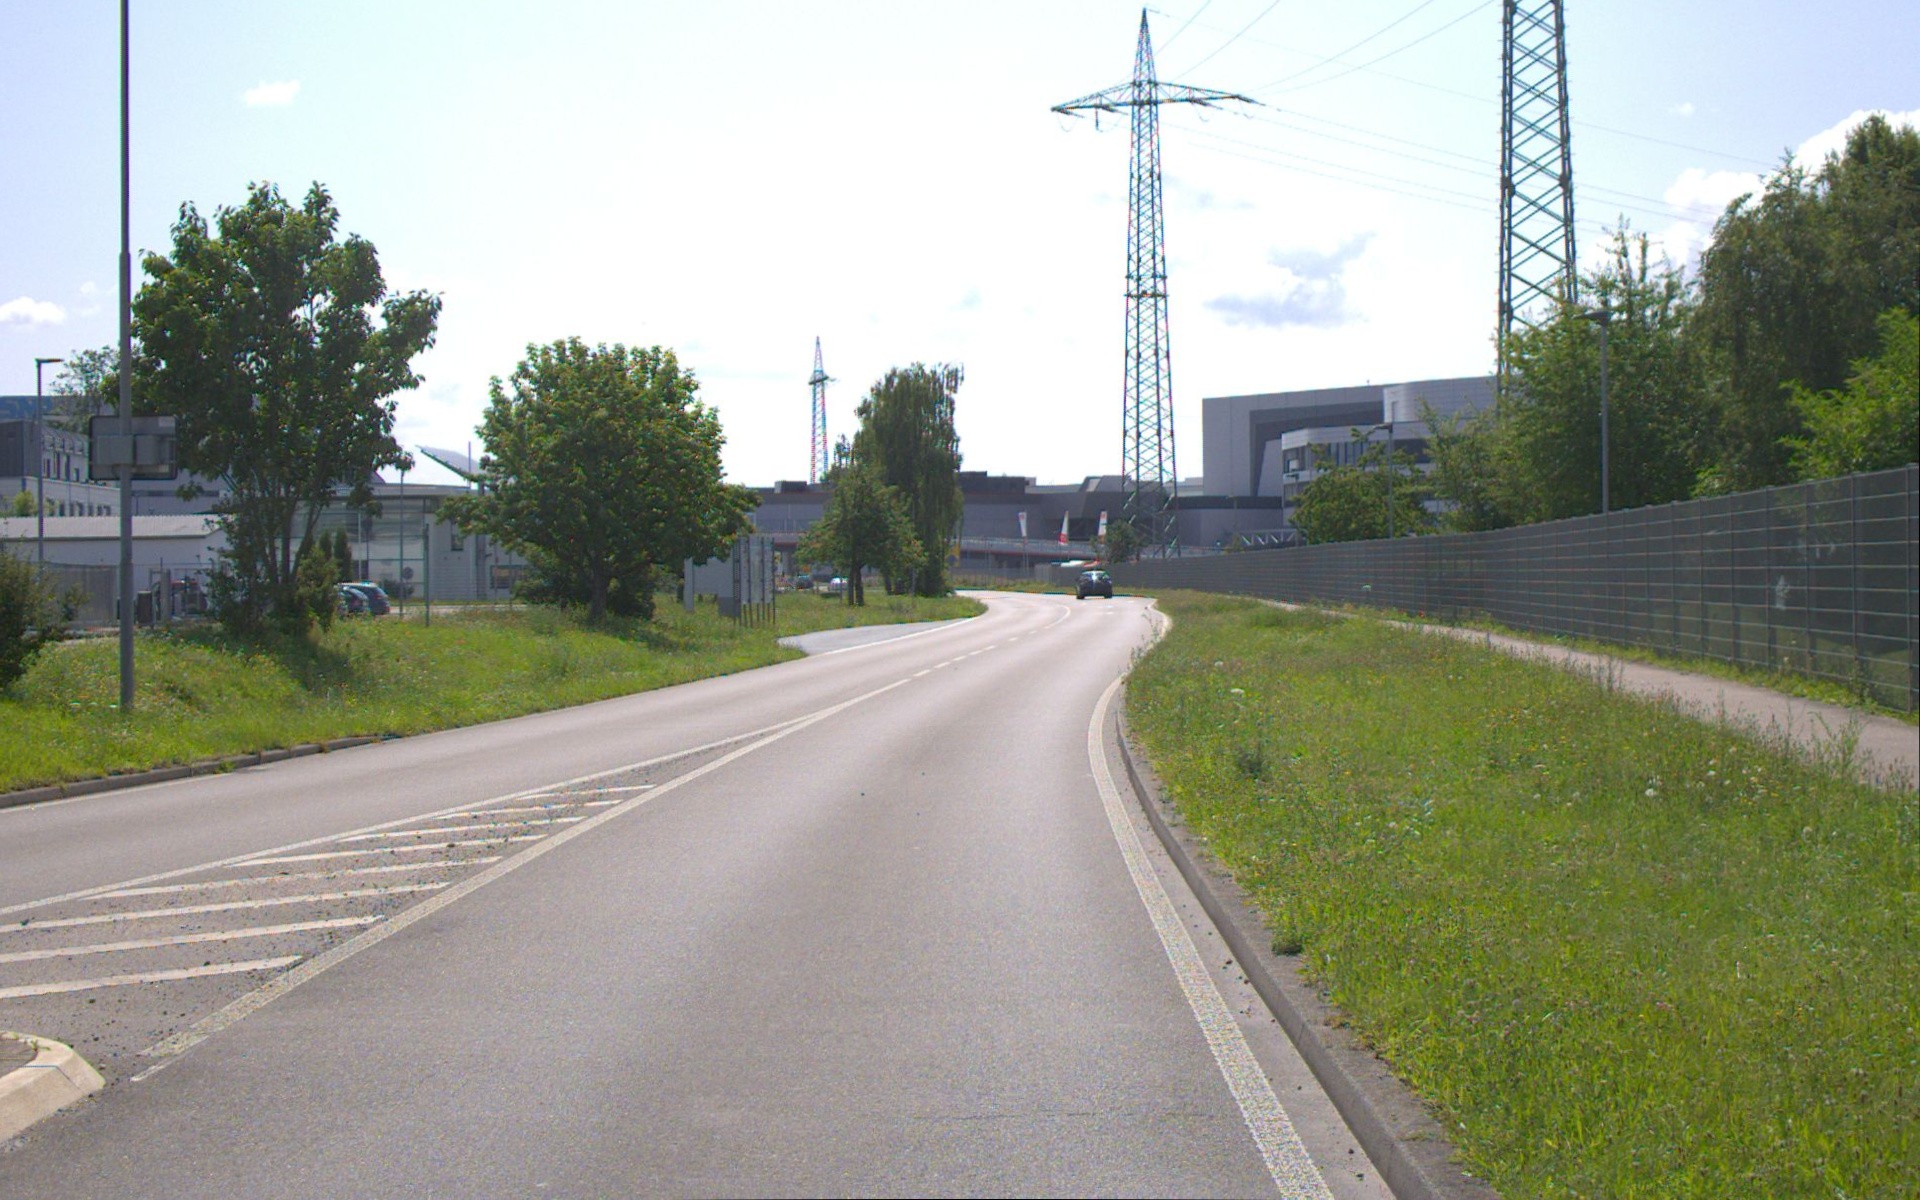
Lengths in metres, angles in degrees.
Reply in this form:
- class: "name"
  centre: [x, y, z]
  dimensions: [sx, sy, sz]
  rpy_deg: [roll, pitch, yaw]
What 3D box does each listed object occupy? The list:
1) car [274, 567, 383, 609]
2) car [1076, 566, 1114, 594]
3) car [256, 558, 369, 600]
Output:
- class: "car"
  centre: [-24.953, -0.487, 135.995]
  dimensions: [3.986, 1.634, 2.000]
  rpy_deg: [0, 0, -2]
- class: "car"
  centre: [7.483, -1.108, 191.059]
  dimensions: [2.012, 1.503, 4.000]
  rpy_deg: [0, 0, 1]
- class: "car"
  centre: [-24.437, -0.809, 129.901]
  dimensions: [3.986, 1.550, 1.666]
  rpy_deg: [0, 1, -2]
